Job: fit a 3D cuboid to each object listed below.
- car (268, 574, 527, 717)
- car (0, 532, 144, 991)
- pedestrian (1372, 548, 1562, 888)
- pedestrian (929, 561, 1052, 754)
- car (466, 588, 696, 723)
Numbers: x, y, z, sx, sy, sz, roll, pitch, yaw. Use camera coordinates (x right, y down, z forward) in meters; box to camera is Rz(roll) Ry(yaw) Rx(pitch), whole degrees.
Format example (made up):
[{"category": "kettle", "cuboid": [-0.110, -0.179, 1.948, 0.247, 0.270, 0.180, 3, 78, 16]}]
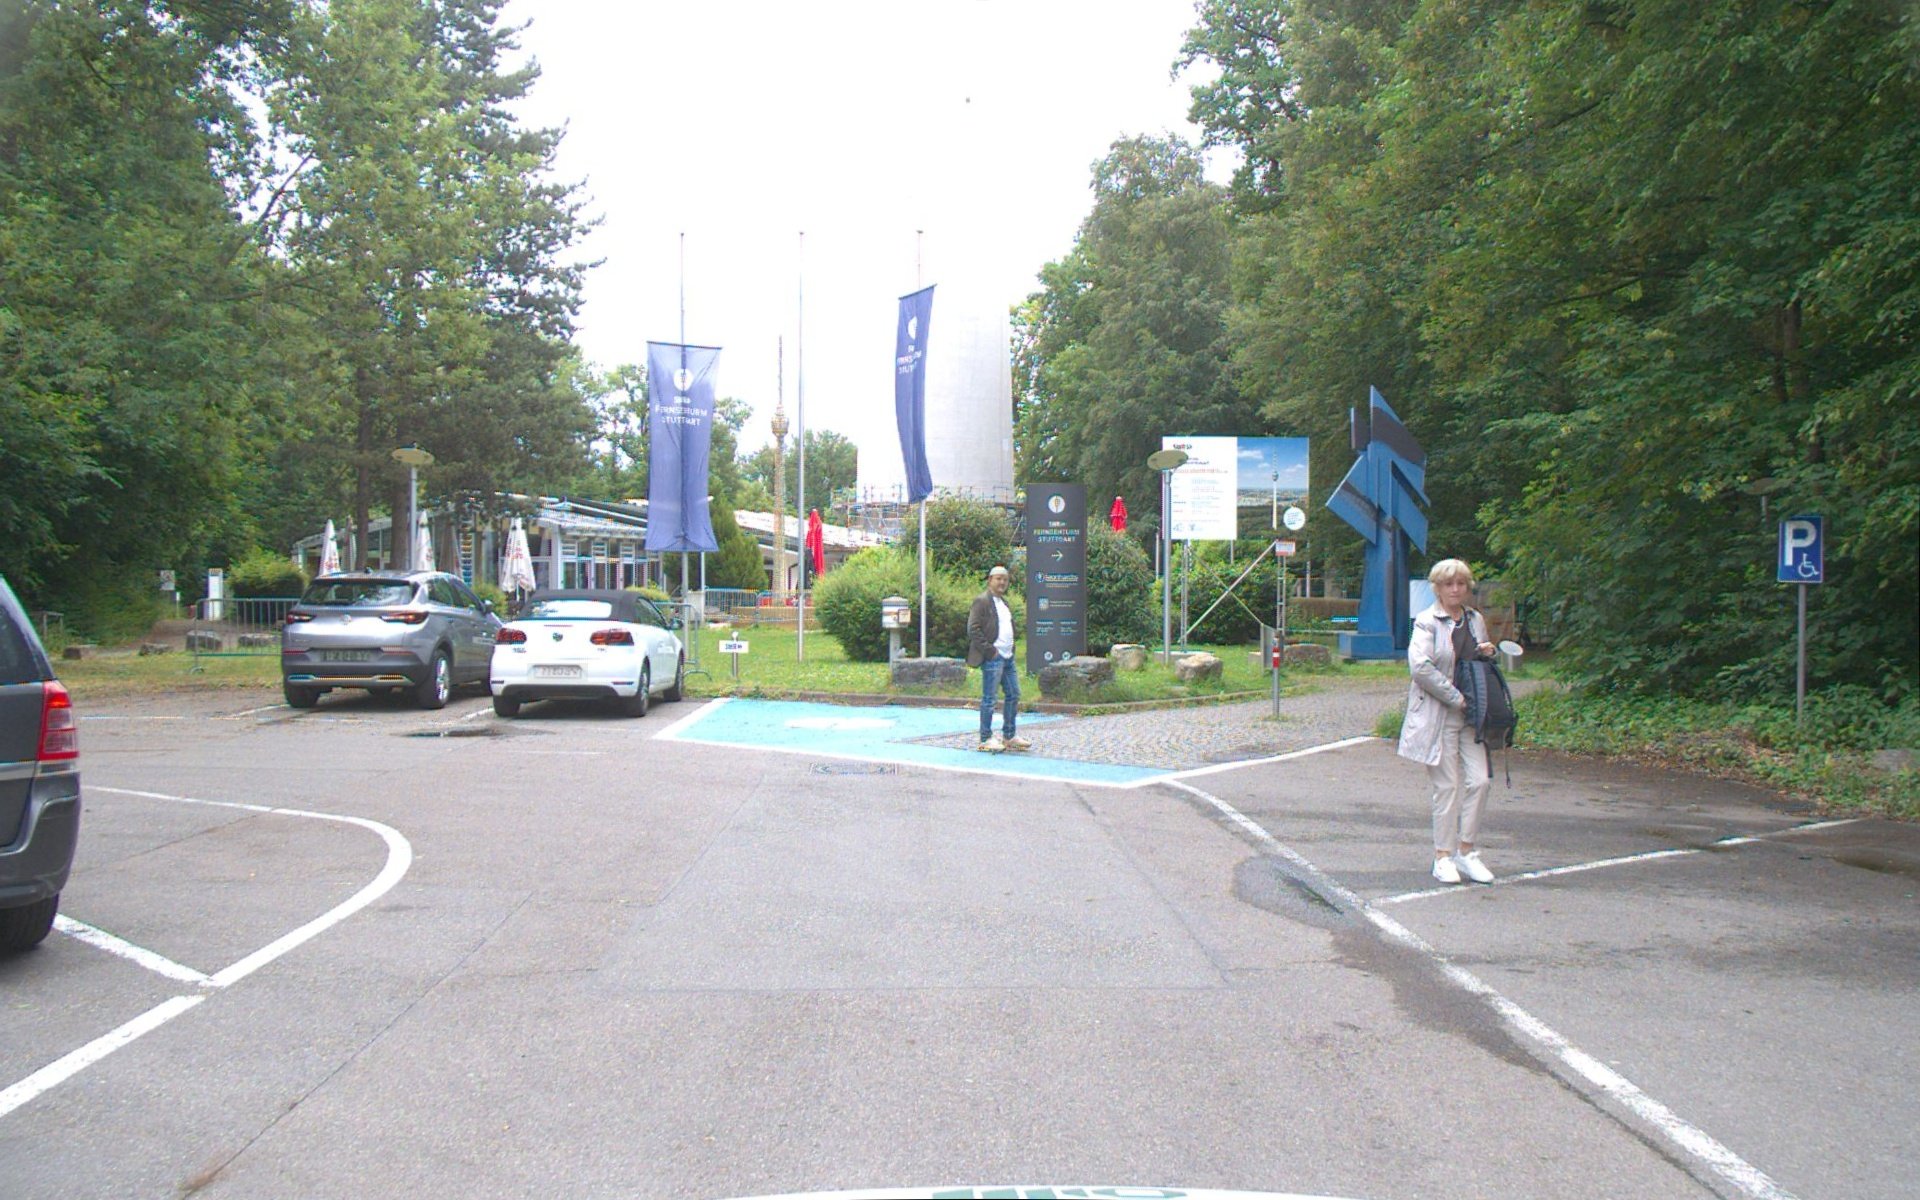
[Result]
[{"category": "car", "cuboid": [-6.905, 0.500, 20.750, 1.854, 1.612, 4.000, 0, 0, 0]}, {"category": "car", "cuboid": [-5.281, 0.553, 7.053, 4.311, 1.637, 1.818, 1, 0, 43]}, {"category": "pedestrian", "cuboid": [2.739, 0.609, 9.020, 0.746, 1.755, 0.897, 1, 0, 0]}, {"category": "pedestrian", "cuboid": [0.292, 0.520, 15.631, 0.880, 1.755, 0.761, 1, 0, 38]}, {"category": "car", "cuboid": [-4.458, 0.591, 20.044, 1.854, 1.453, 4.000, 0, 0, 0]}]
